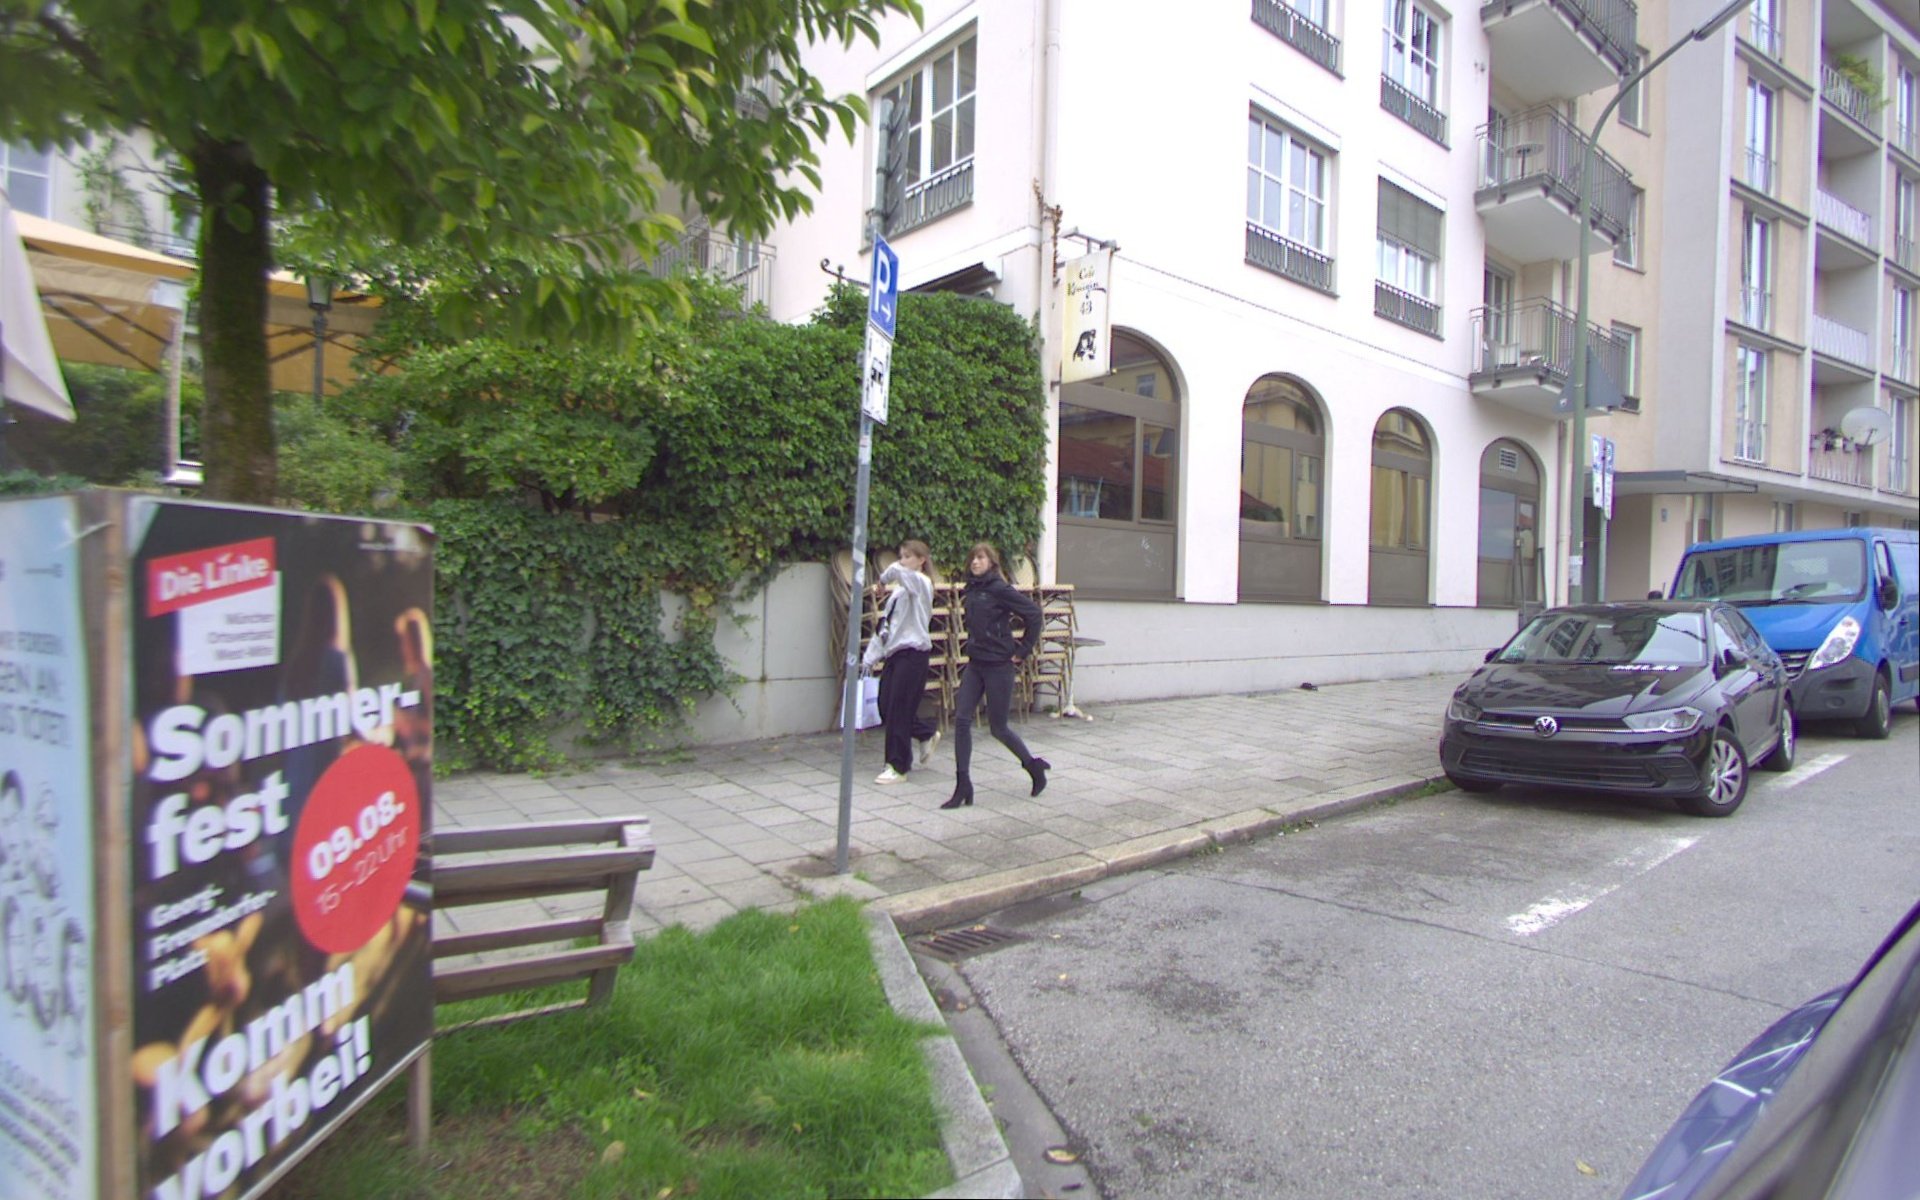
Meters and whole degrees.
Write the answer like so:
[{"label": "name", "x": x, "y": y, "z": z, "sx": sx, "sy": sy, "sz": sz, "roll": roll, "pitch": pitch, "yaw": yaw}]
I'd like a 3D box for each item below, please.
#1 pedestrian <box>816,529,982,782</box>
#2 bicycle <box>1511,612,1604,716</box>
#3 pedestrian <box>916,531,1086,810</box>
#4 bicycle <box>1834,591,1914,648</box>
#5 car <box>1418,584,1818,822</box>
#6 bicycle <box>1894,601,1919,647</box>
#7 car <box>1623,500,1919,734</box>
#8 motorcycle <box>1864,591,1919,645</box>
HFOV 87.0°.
[{"label": "pedestrian", "x": -0.433, "y": 0.336, "z": 7.079, "sx": 0.815, "sy": 1.626, "sz": 0.808, "roll": 0, "pitch": 3, "yaw": -40}, {"label": "bicycle", "x": 6.910, "y": 0.694, "z": 11.675, "sx": 0.564, "sy": 1.083, "sz": 1.760, "roll": 2, "pitch": 1, "yaw": 42}, {"label": "pedestrian", "x": 0.260, "y": 0.396, "z": 6.471, "sx": 0.815, "sy": 1.648, "sz": 0.680, "roll": -1, "pitch": 3, "yaw": -41}, {"label": "bicycle", "x": 22.061, "y": 0.457, "z": 24.449, "sx": 0.387, "sy": 1.216, "sz": 1.339, "roll": -1, "pitch": 6, "yaw": -44}, {"label": "car", "x": 5.341, "y": 0.638, "z": 8.013, "sx": 3.932, "sy": 1.413, "sz": 1.716, "roll": 0, "pitch": -2, "yaw": -43}, {"label": "bicycle", "x": 25.599, "y": 0.635, "z": 27.024, "sx": 1.569, "sy": 1.171, "sz": 0.516, "roll": 1, "pitch": 2, "yaw": -32}, {"label": "car", "x": 10.112, "y": 0.147, "z": 12.028, "sx": 4.936, "sy": 2.242, "sz": 2.114, "roll": -2, "pitch": -2, "yaw": -37}, {"label": "motorcycle", "x": 23.797, "y": 0.447, "z": 25.722, "sx": 2.001, "sy": 1.286, "sz": 0.638, "roll": 1, "pitch": 2, "yaw": -32}]
